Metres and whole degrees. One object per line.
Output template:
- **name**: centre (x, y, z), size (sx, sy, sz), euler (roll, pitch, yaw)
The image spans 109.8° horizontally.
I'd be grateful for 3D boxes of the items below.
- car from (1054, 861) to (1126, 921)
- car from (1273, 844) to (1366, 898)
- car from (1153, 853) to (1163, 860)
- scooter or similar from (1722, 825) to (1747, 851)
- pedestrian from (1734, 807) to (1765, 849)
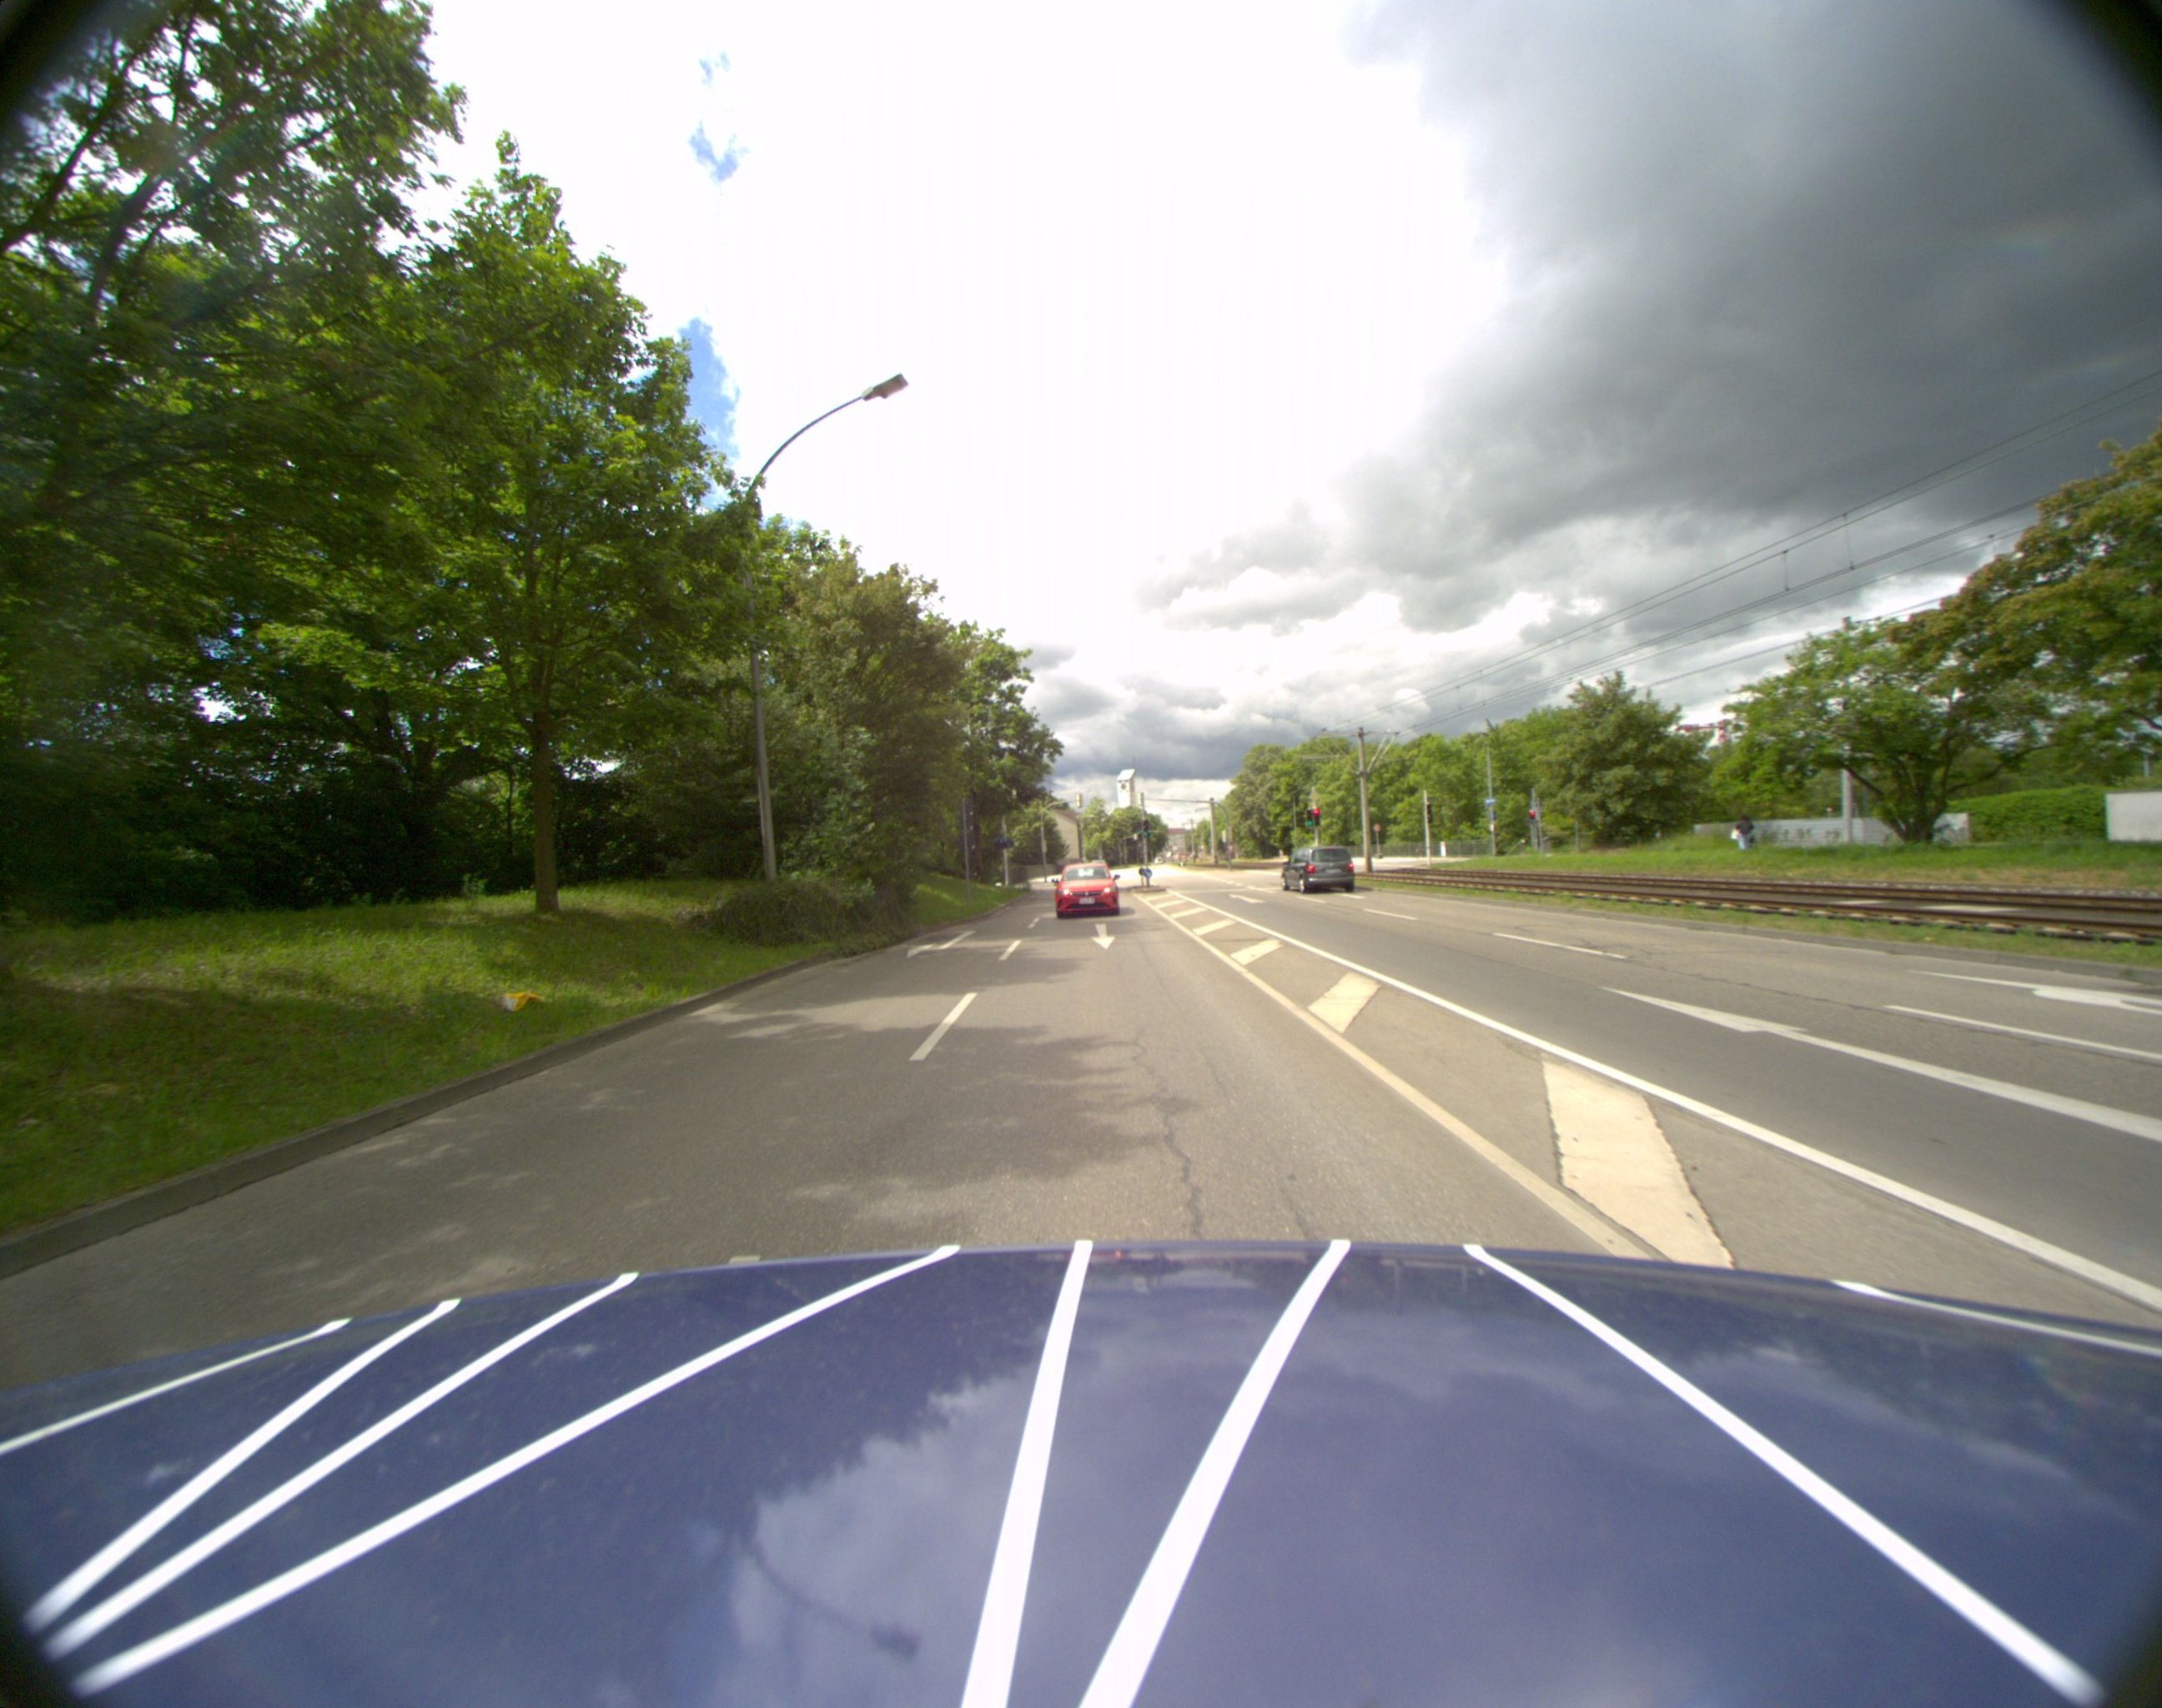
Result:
- **car**: centre (0.247, 0.990, 22.209), size (1.790, 1.453, 4.853), euler (-4, -1, 0)
- **car**: centre (8.465, 0.535, 27.398), size (1.998, 1.650, 4.522), euler (-4, 1, 2)
- **car**: centre (16.994, 0.620, 167.676), size (1.789, 1.340, 4.853), euler (-4, 1, 4)
- **scooter or similar**: centre (27.562, -0.665, 32.041), size (0.381, 1.070, 0.717), euler (-4, 1, 0)
- **pedestrian**: centre (27.521, -1.061, 31.282), size (0.492, 1.713, 0.799), euler (-4, 1, 0)
